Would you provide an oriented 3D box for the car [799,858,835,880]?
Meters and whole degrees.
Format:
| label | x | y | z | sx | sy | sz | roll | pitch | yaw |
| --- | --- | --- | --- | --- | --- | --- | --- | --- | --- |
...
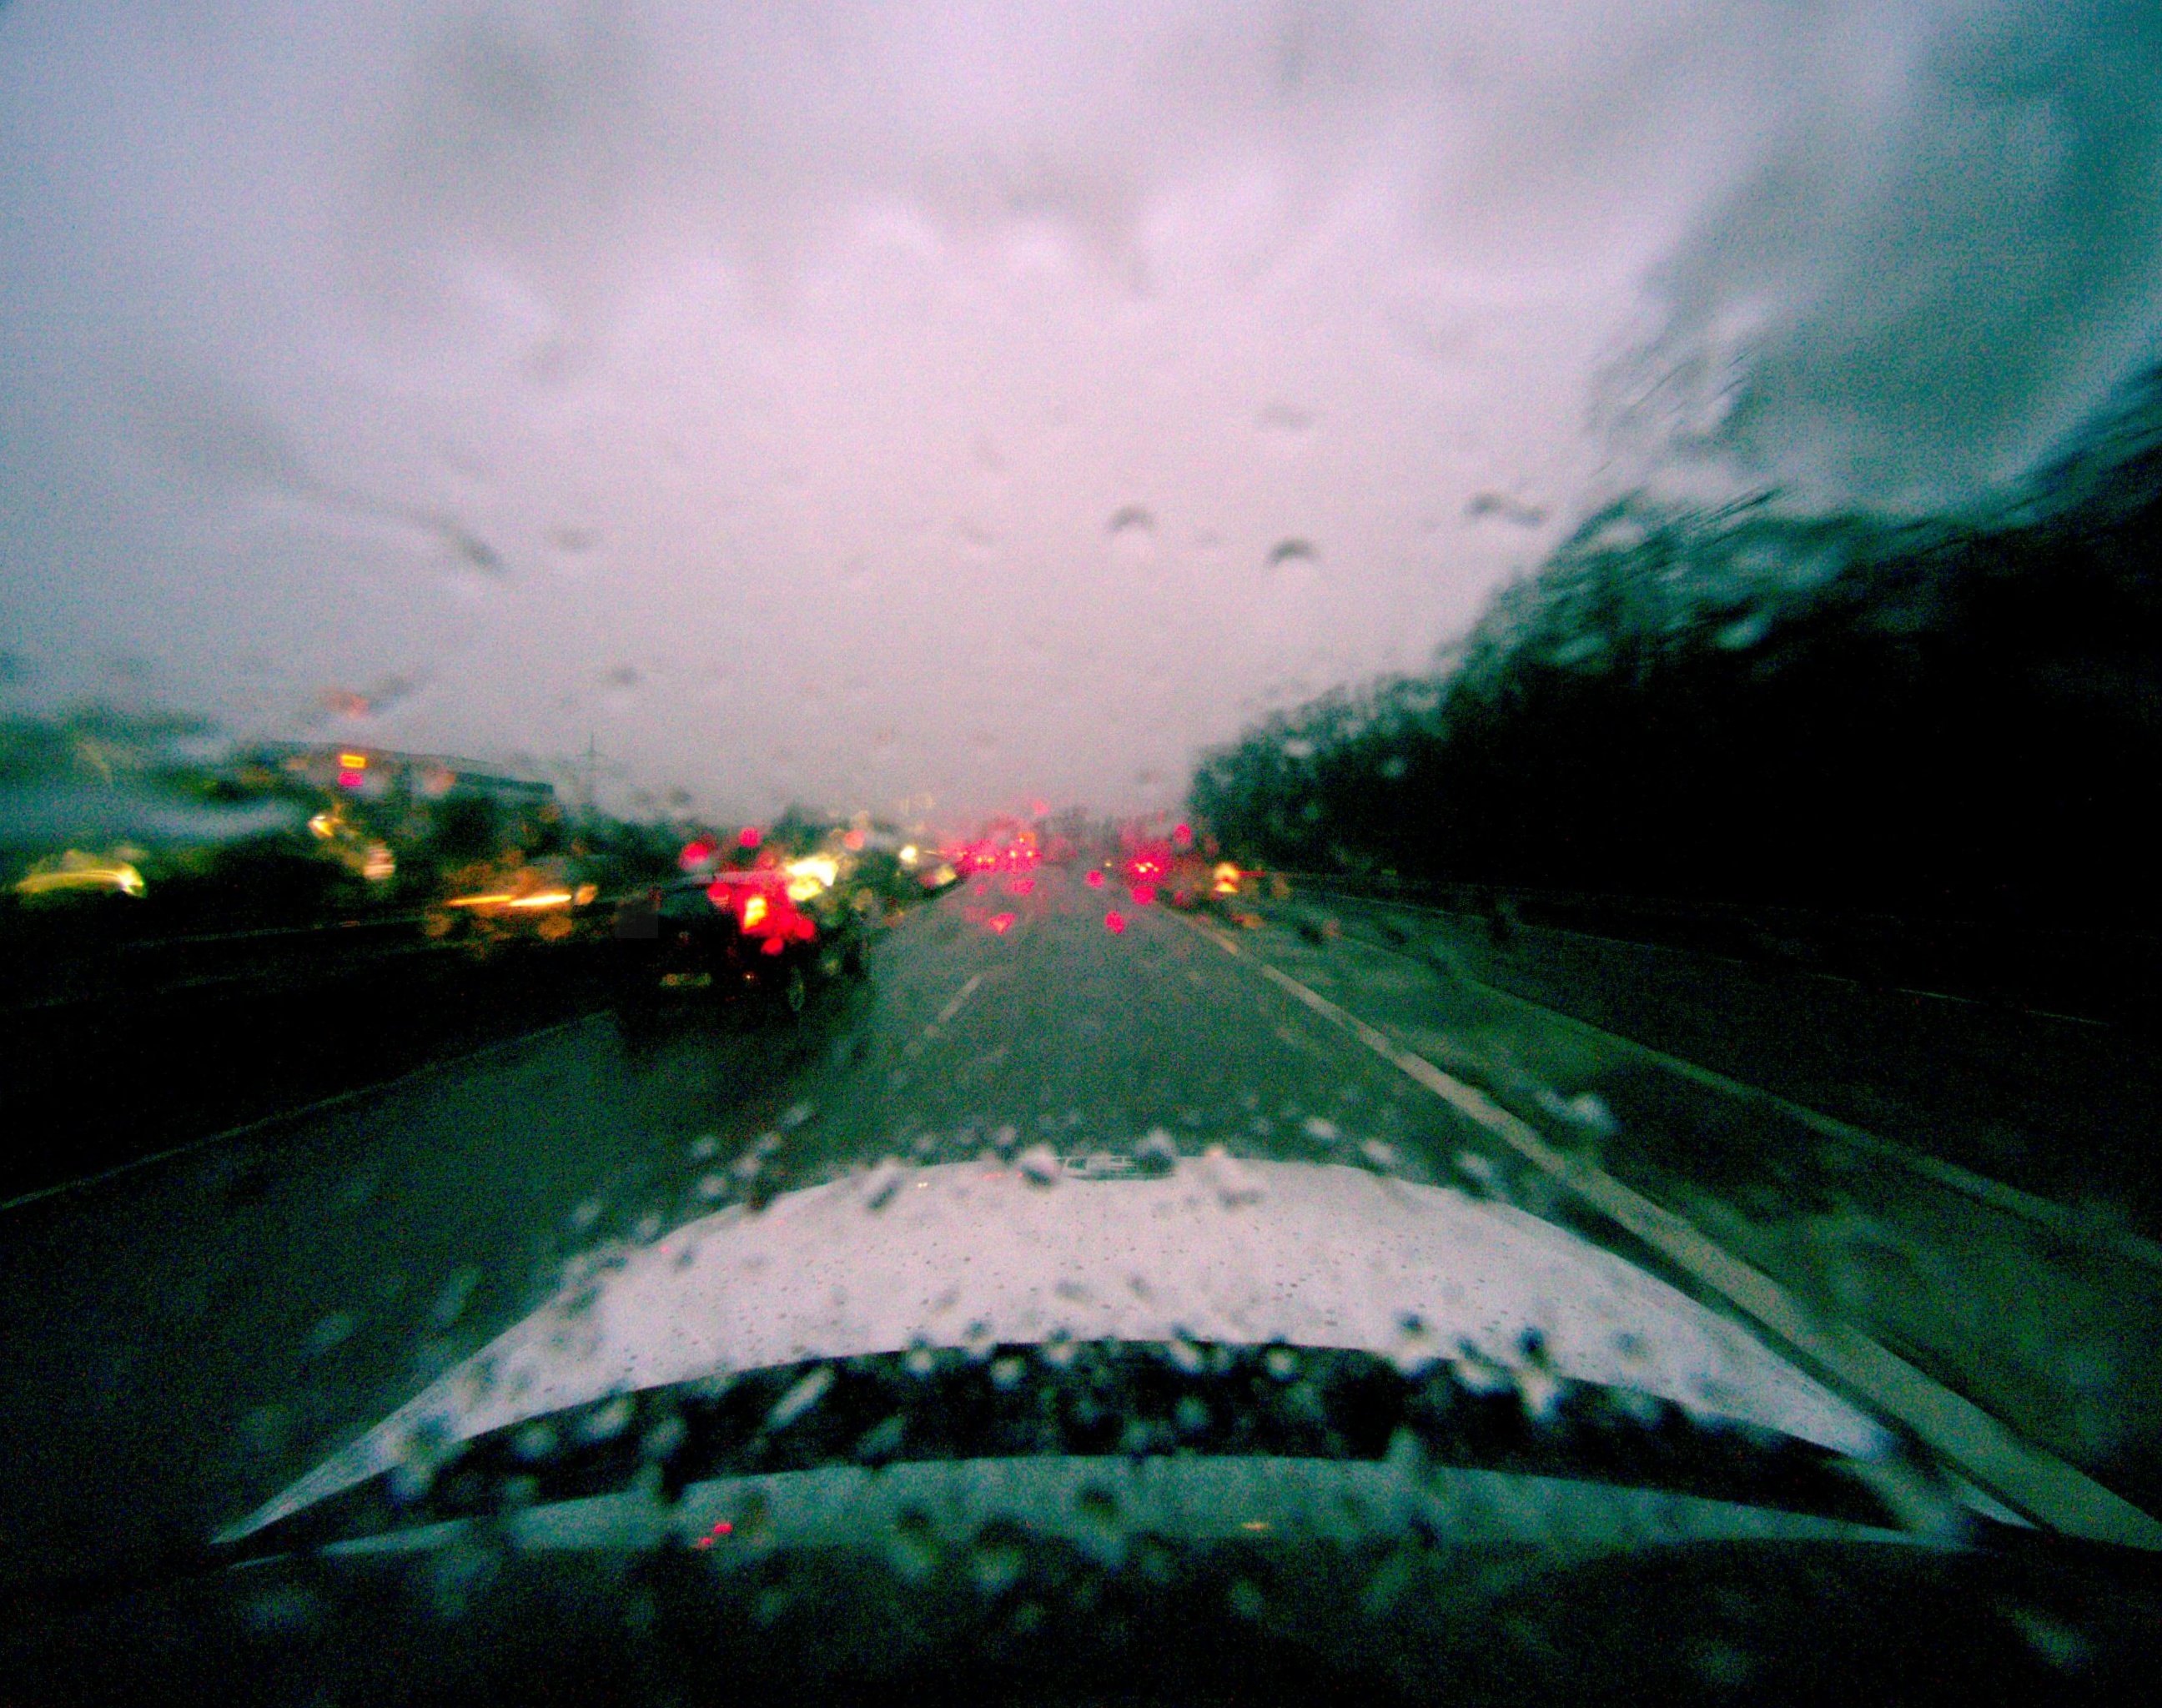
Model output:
| label | x | y | z | sx | sy | sz | roll | pitch | yaw |
| --- | --- | --- | --- | --- | --- | --- | --- | --- | --- |
| car | -18.720 | 1.034 | 57.829 | 1.670 | 1.420 | 4.071 | -1 | 0 | -7 |

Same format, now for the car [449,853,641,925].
| label | x | y | z | sx | sy | sz | roll | pitch | yaw |
| --- | --- | --- | --- | --- | --- | --- | --- | --- | --- |
| car | -13.829 | 0.819 | 21.411 | 1.986 | 1.673 | 4.430 | -1 | 0 | 1 |

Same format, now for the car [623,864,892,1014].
| label | x | y | z | sx | sy | sz | roll | pitch | yaw |
| --- | --- | --- | --- | --- | --- | --- | --- | --- | --- |
| car | -3.554 | 0.837 | 9.771 | 1.620 | 1.392 | 3.999 | 0 | 0 | 0 |

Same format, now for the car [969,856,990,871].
| label | x | y | z | sx | sy | sz | roll | pitch | yaw |
| --- | --- | --- | --- | --- | --- | --- | --- | --- | --- |
| car | -10.928 | 1.073 | 87.411 | 1.836 | 1.537 | 3.982 | 1 | -2 | -13 |
